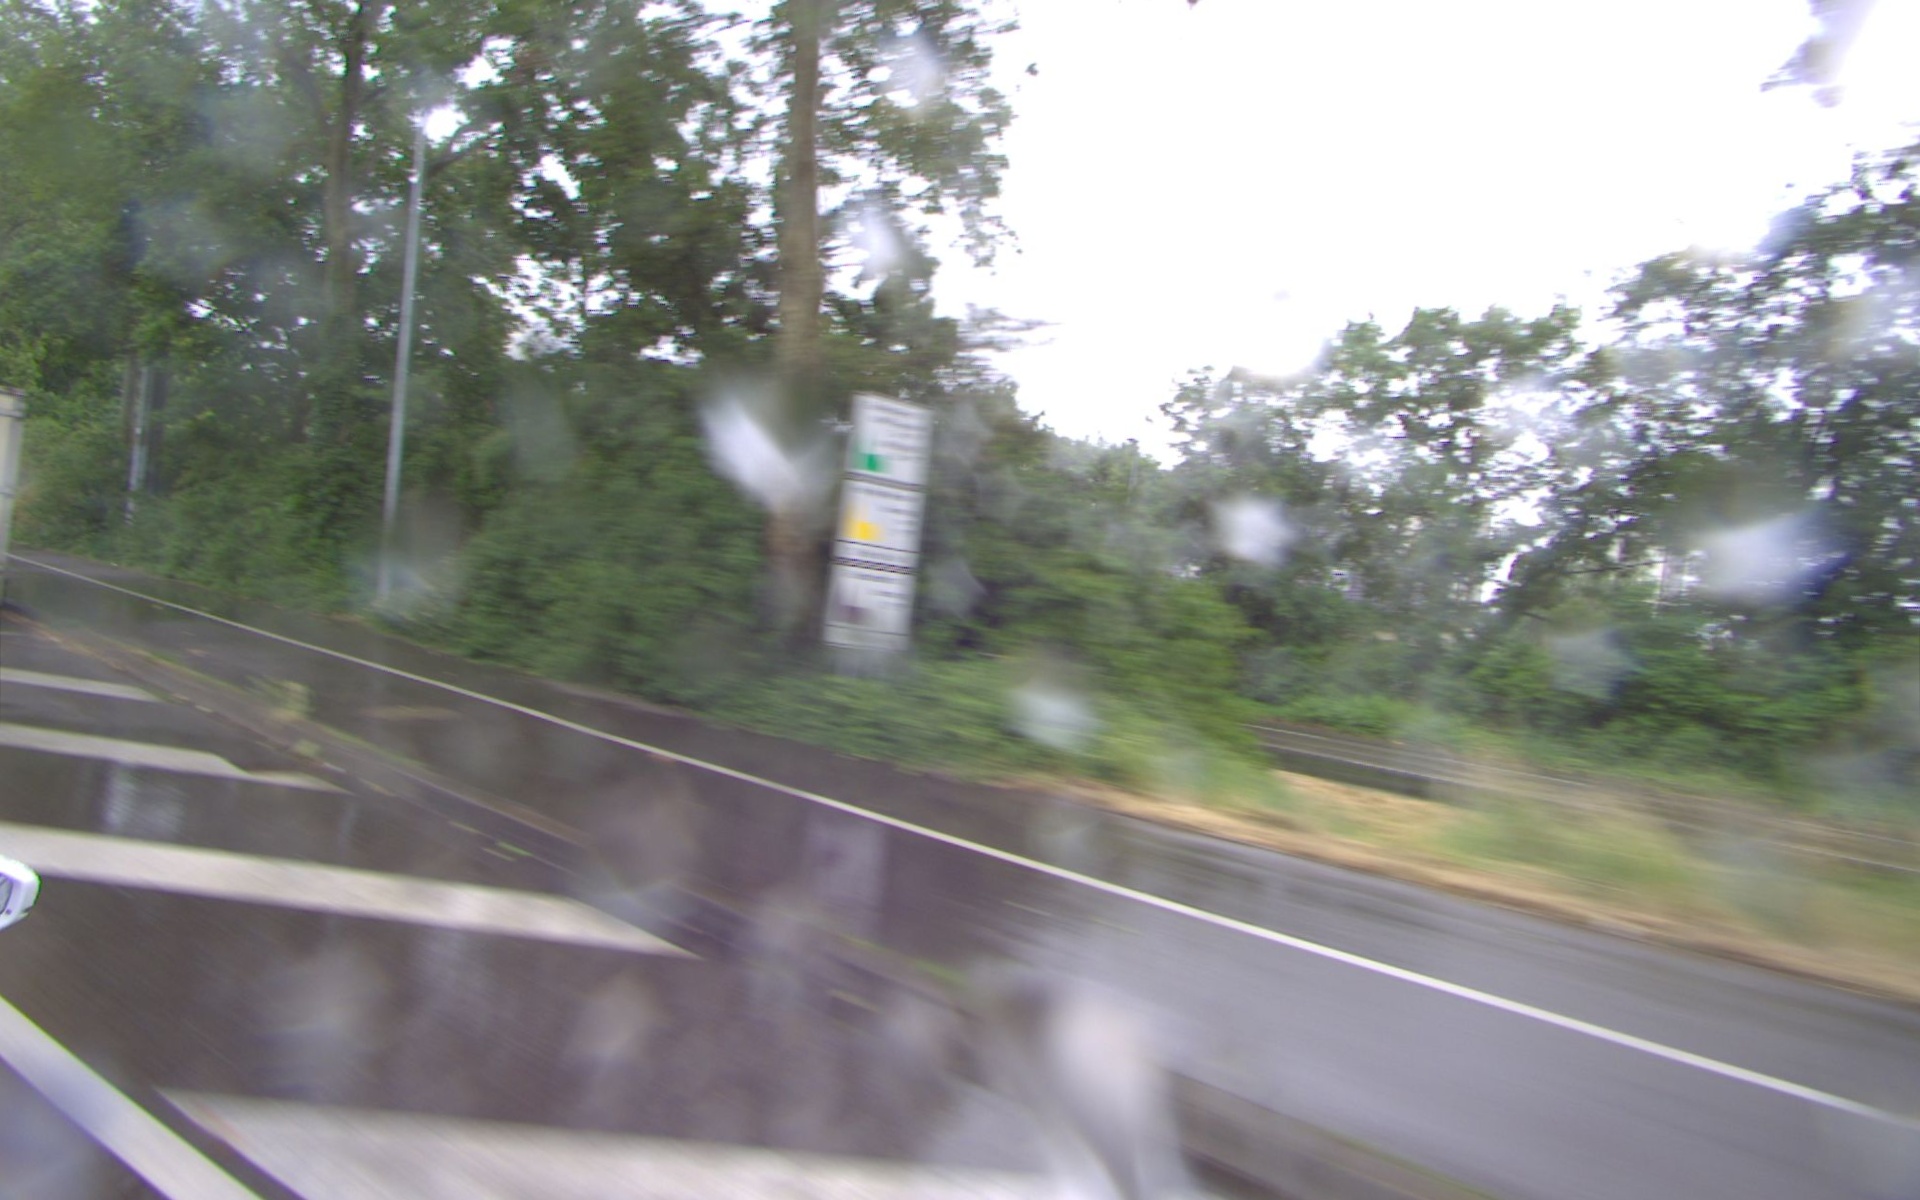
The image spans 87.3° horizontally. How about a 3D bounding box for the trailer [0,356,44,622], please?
[{"bbox_3d":[-12.875,-1.478,11.803,5.594,2.791,2.164,6,-1,39],"label":"trailer"}]
